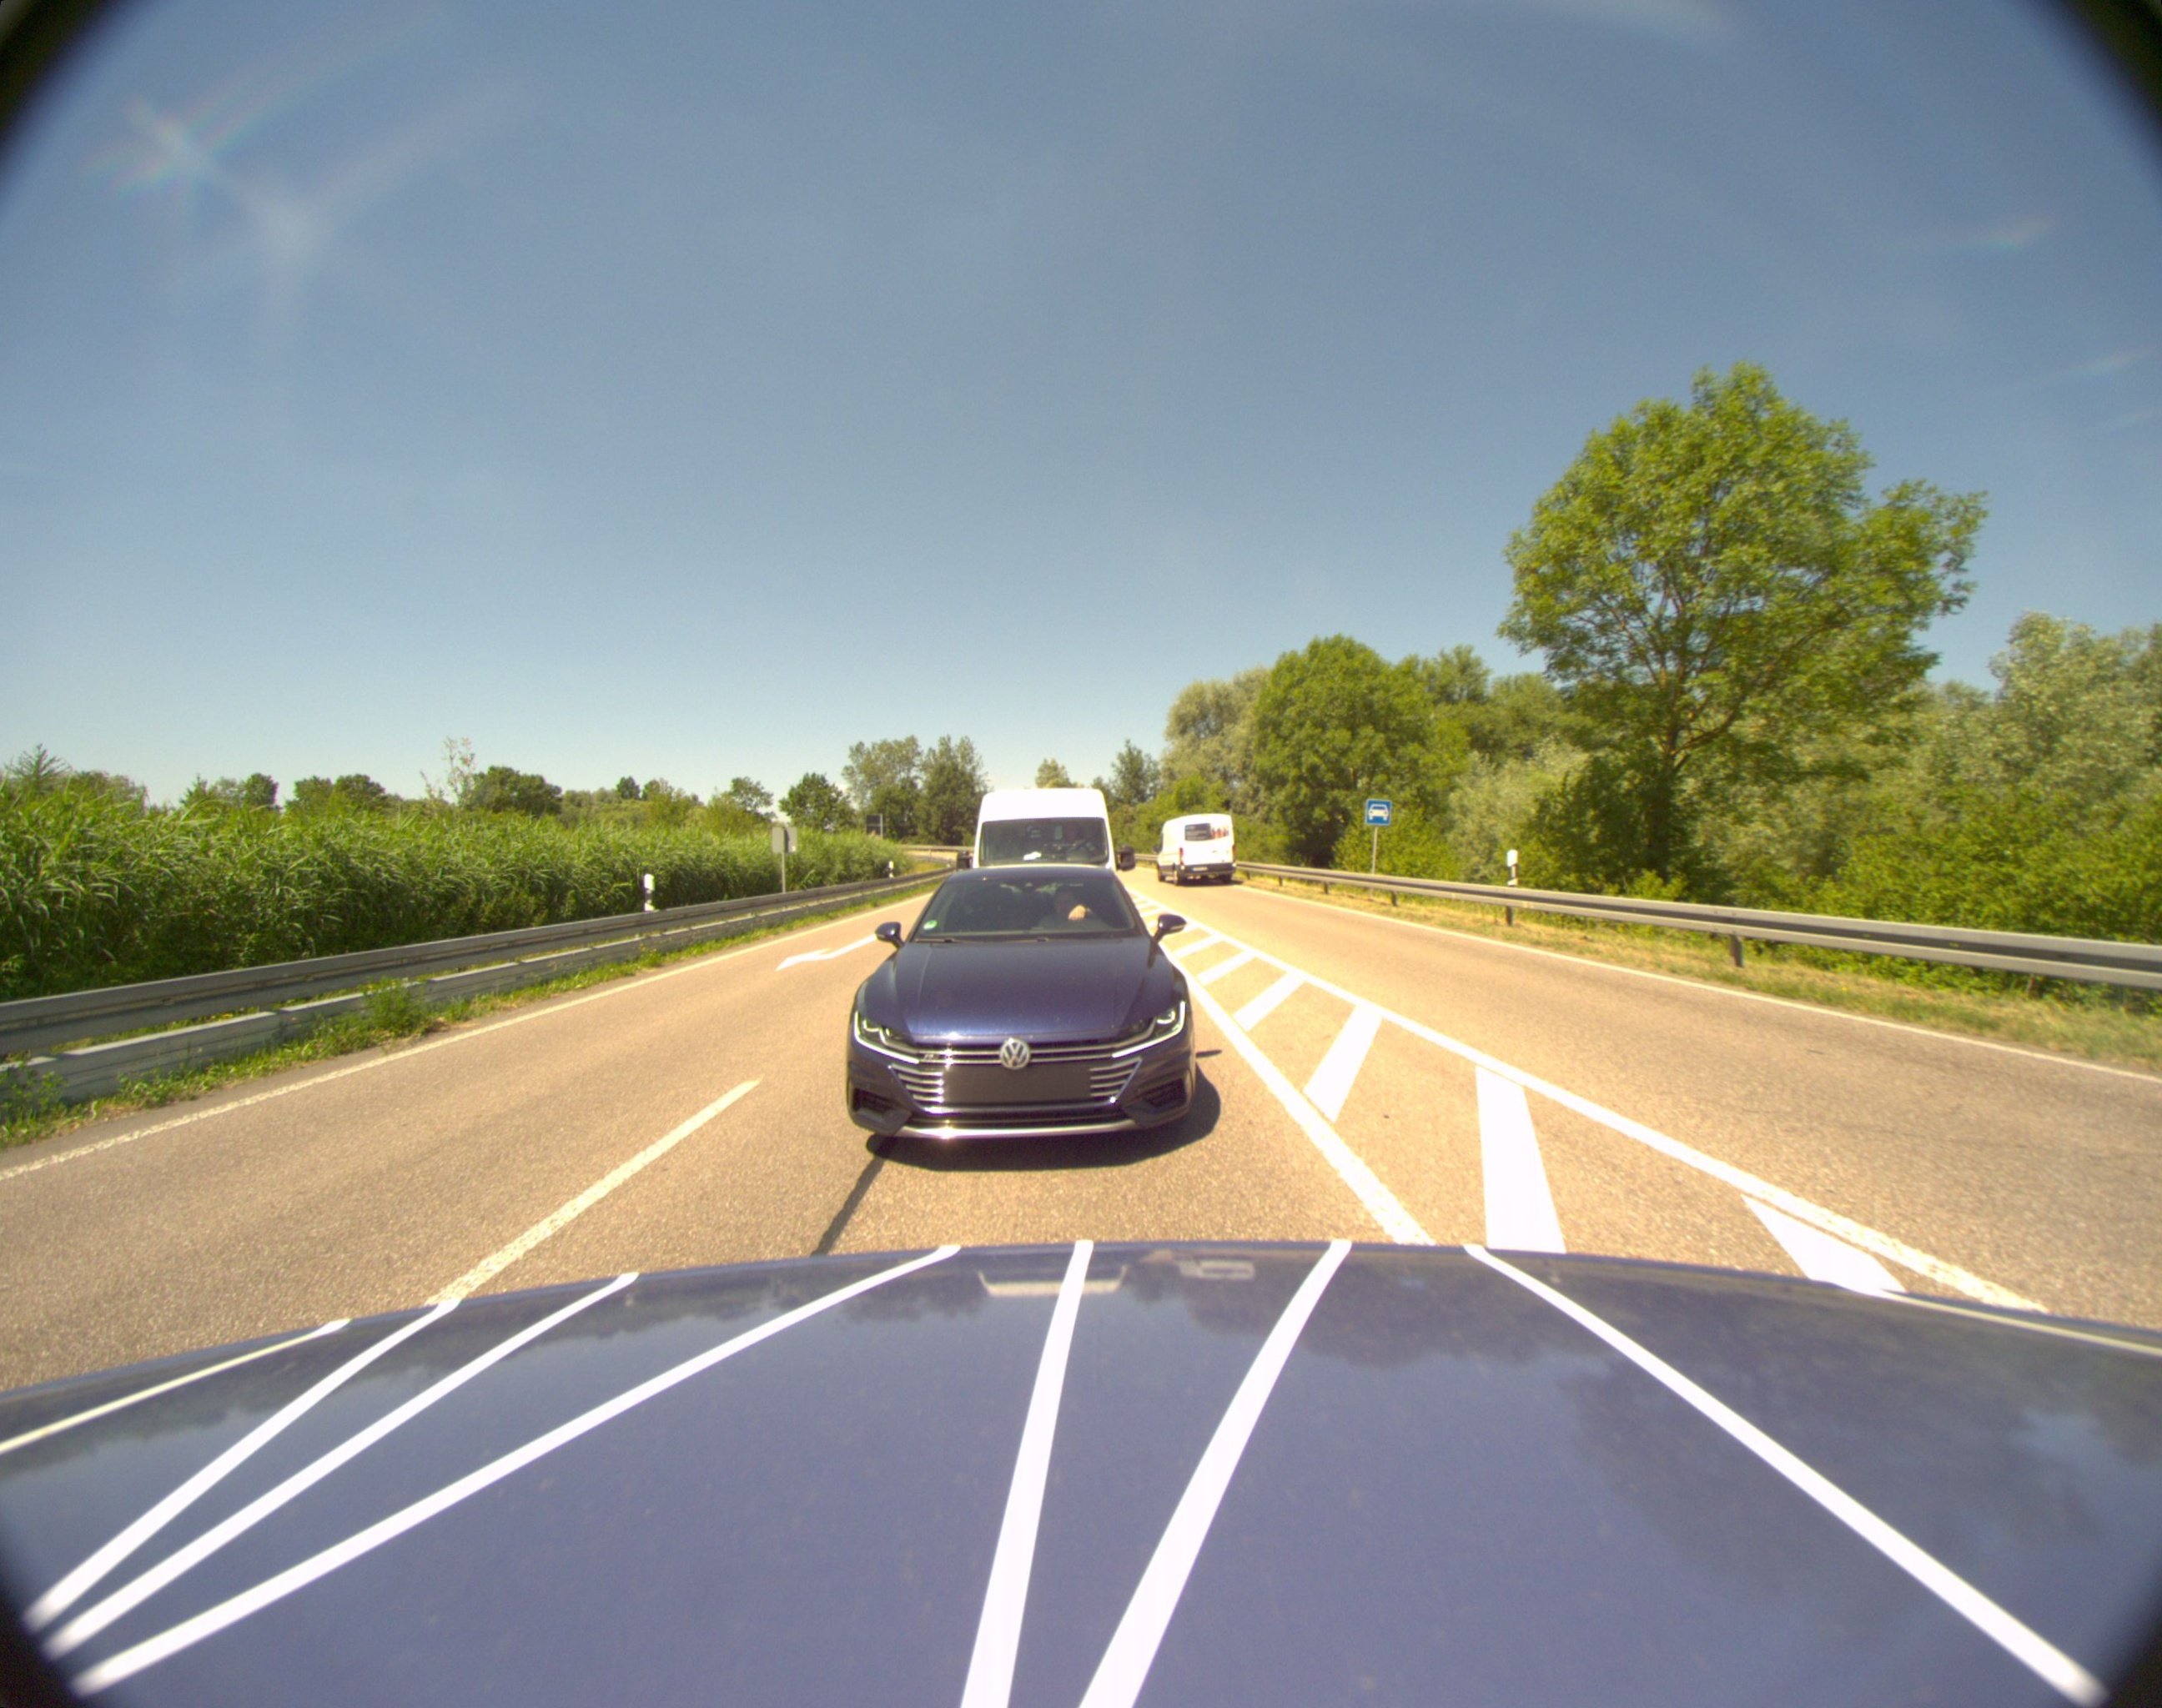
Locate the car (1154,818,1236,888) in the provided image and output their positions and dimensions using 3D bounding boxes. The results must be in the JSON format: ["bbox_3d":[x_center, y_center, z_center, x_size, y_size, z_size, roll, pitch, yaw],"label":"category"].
[{"bbox_3d":[4.212,-0.103,28.999,1.999,2.403,5.586,-1,1,-3],"label":"car"}]

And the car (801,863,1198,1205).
[{"bbox_3d":[-0.354,0.874,5.763,1.819,1.454,4.415,-2,1,1],"label":"car"}]

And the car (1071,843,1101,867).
[{"bbox_3d":[0.334,0.029,55.217,1.742,1.676,4.206,0,1,-6],"label":"car"}]

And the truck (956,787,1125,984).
[{"bbox_3d":[-0.672,0.351,12.297,2.011,2.365,5.909,-2,1,-4],"label":"truck"}]
